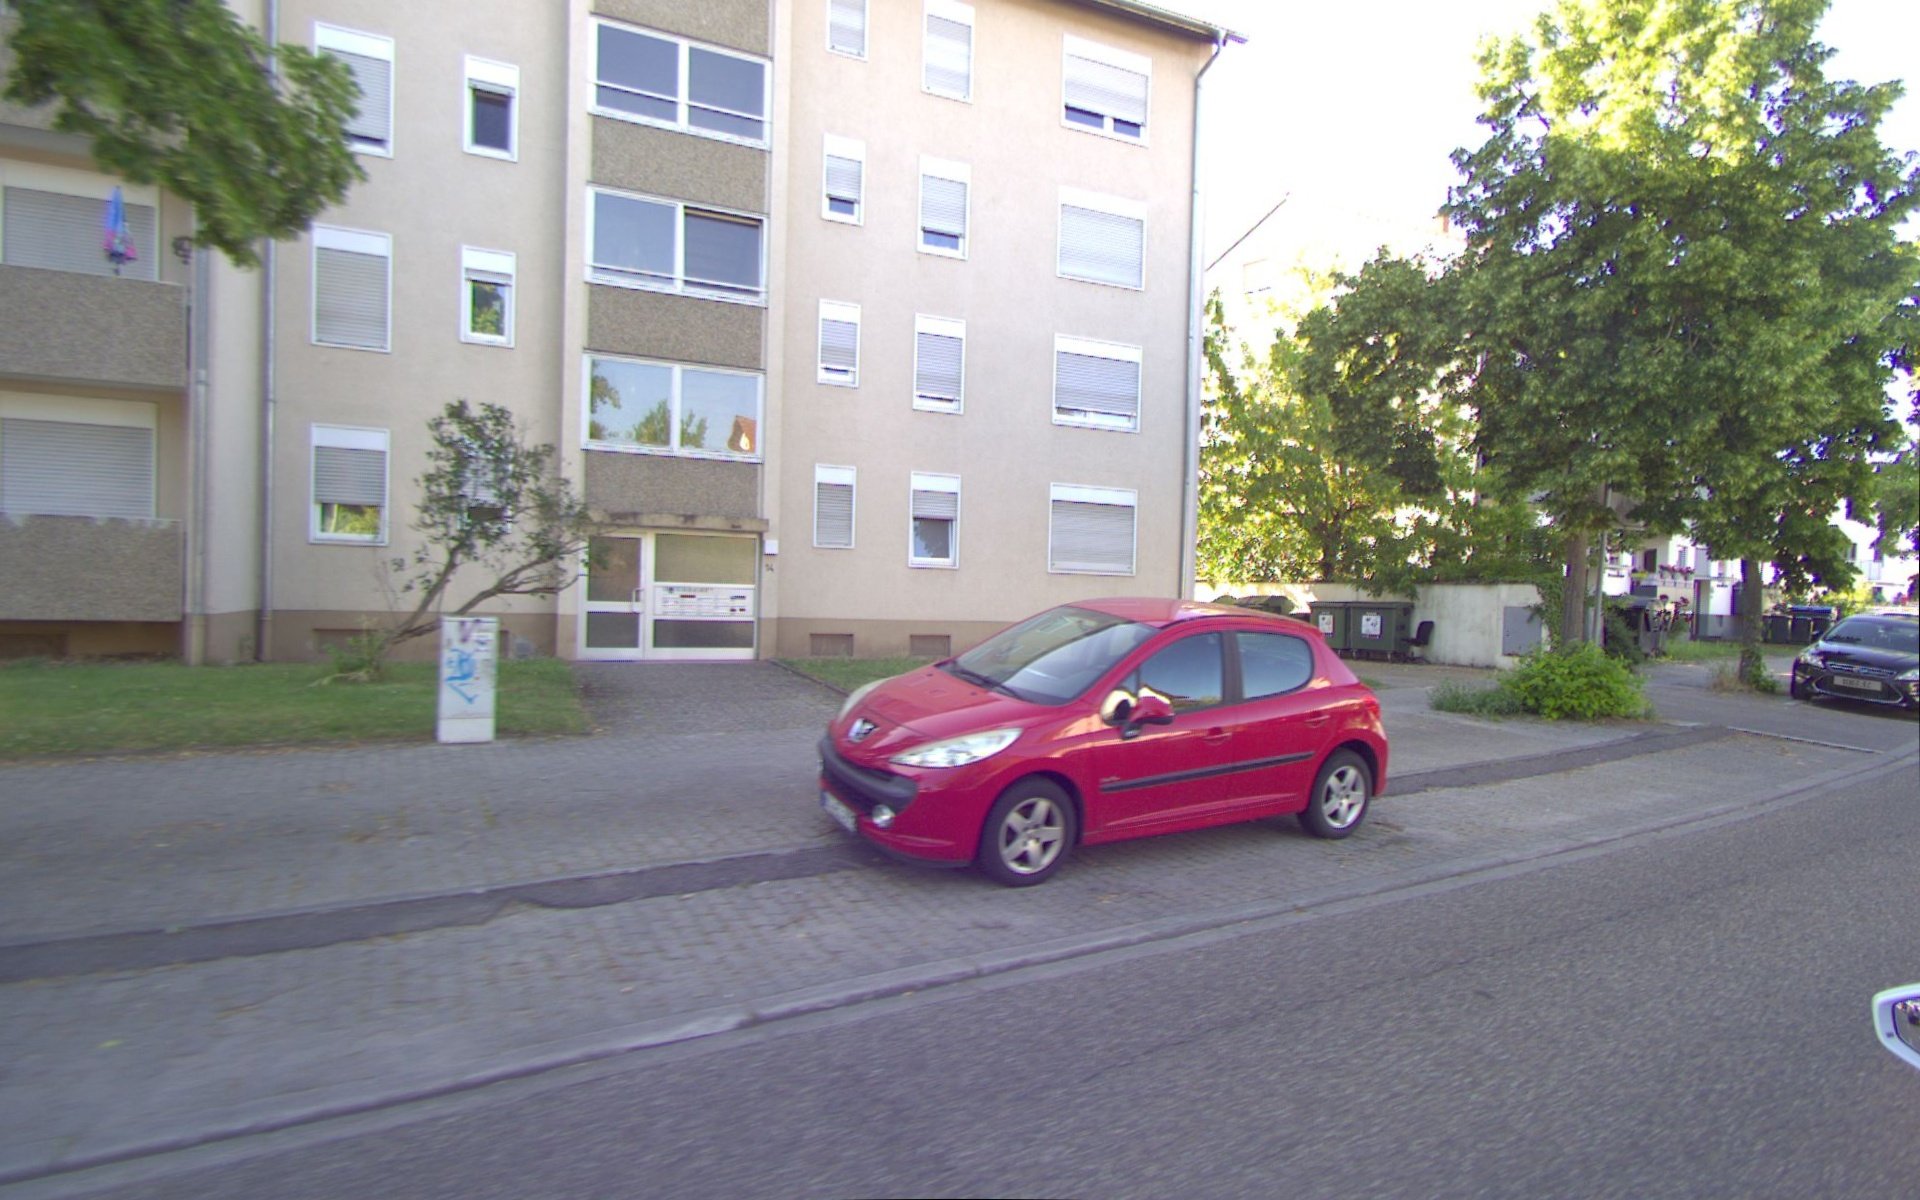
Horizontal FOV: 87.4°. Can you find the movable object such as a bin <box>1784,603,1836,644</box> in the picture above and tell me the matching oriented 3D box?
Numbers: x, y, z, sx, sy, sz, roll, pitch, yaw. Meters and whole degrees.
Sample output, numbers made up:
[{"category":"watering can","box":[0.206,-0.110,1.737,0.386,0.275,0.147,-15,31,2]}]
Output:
[{"category":"movable object such as a bin","box":[32.499,0.895,38.415,1.105,1.502,1.223,1,1,-35]}]

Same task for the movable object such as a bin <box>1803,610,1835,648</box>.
[{"category":"movable object such as a bin","box":[30.537,1.028,35.709,0.665,1.296,0.682,1,1,-35]}]

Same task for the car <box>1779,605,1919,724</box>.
[{"category":"car","box":[15.200,0.977,16.529,4.506,1.514,1.707,1,7,-40]}]

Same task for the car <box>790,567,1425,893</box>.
[{"category":"car","box":[1.028,0.662,6.596,3.862,1.514,1.649,1,4,-30]}]

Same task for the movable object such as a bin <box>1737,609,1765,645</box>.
[{"category":"movable object such as a bin","box":[29.425,1.000,37.366,0.665,1.296,0.634,1,1,-35]}]

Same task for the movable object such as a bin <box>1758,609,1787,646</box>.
[{"category":"movable object such as a bin","box":[29.777,1.009,36.812,0.665,1.296,0.634,1,1,-35]}]

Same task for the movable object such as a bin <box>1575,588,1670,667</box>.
[{"category":"movable object such as a bin","box":[15.054,0.609,22.847,1.255,1.685,1.403,1,1,-36]}]

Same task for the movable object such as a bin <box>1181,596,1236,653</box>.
[{"category":"movable object such as a bin","box":[6.716,0.646,27.166,0.927,1.452,1.115,-3,3,-30]}]

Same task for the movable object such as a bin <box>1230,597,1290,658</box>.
[{"category":"movable object such as a bin","box":[7.651,0.681,25.631,0.944,1.452,1.115,-3,3,-30]}]

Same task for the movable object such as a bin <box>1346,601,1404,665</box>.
[{"category":"movable object such as a bin","box":[9.209,0.725,22.336,0.560,1.334,1.084,-3,3,-30]}]

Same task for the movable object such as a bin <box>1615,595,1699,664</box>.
[{"category":"movable object such as a bin","box":[16.913,0.697,24.374,1.314,1.564,1.281,1,1,-36]}]

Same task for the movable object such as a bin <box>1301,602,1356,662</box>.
[{"category":"movable object such as a bin","box":[8.624,0.731,23.519,0.560,1.334,1.115,-3,3,-30]}]

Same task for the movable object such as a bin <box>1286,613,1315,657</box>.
[{"category":"movable object such as a bin","box":[8.317,0.852,24.541,0.479,1.028,0.505,-3,3,-30]}]

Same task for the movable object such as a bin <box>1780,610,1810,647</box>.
[{"category":"movable object such as a bin","box":[30.143,1.019,36.273,0.665,1.296,0.634,1,1,-35]}]
